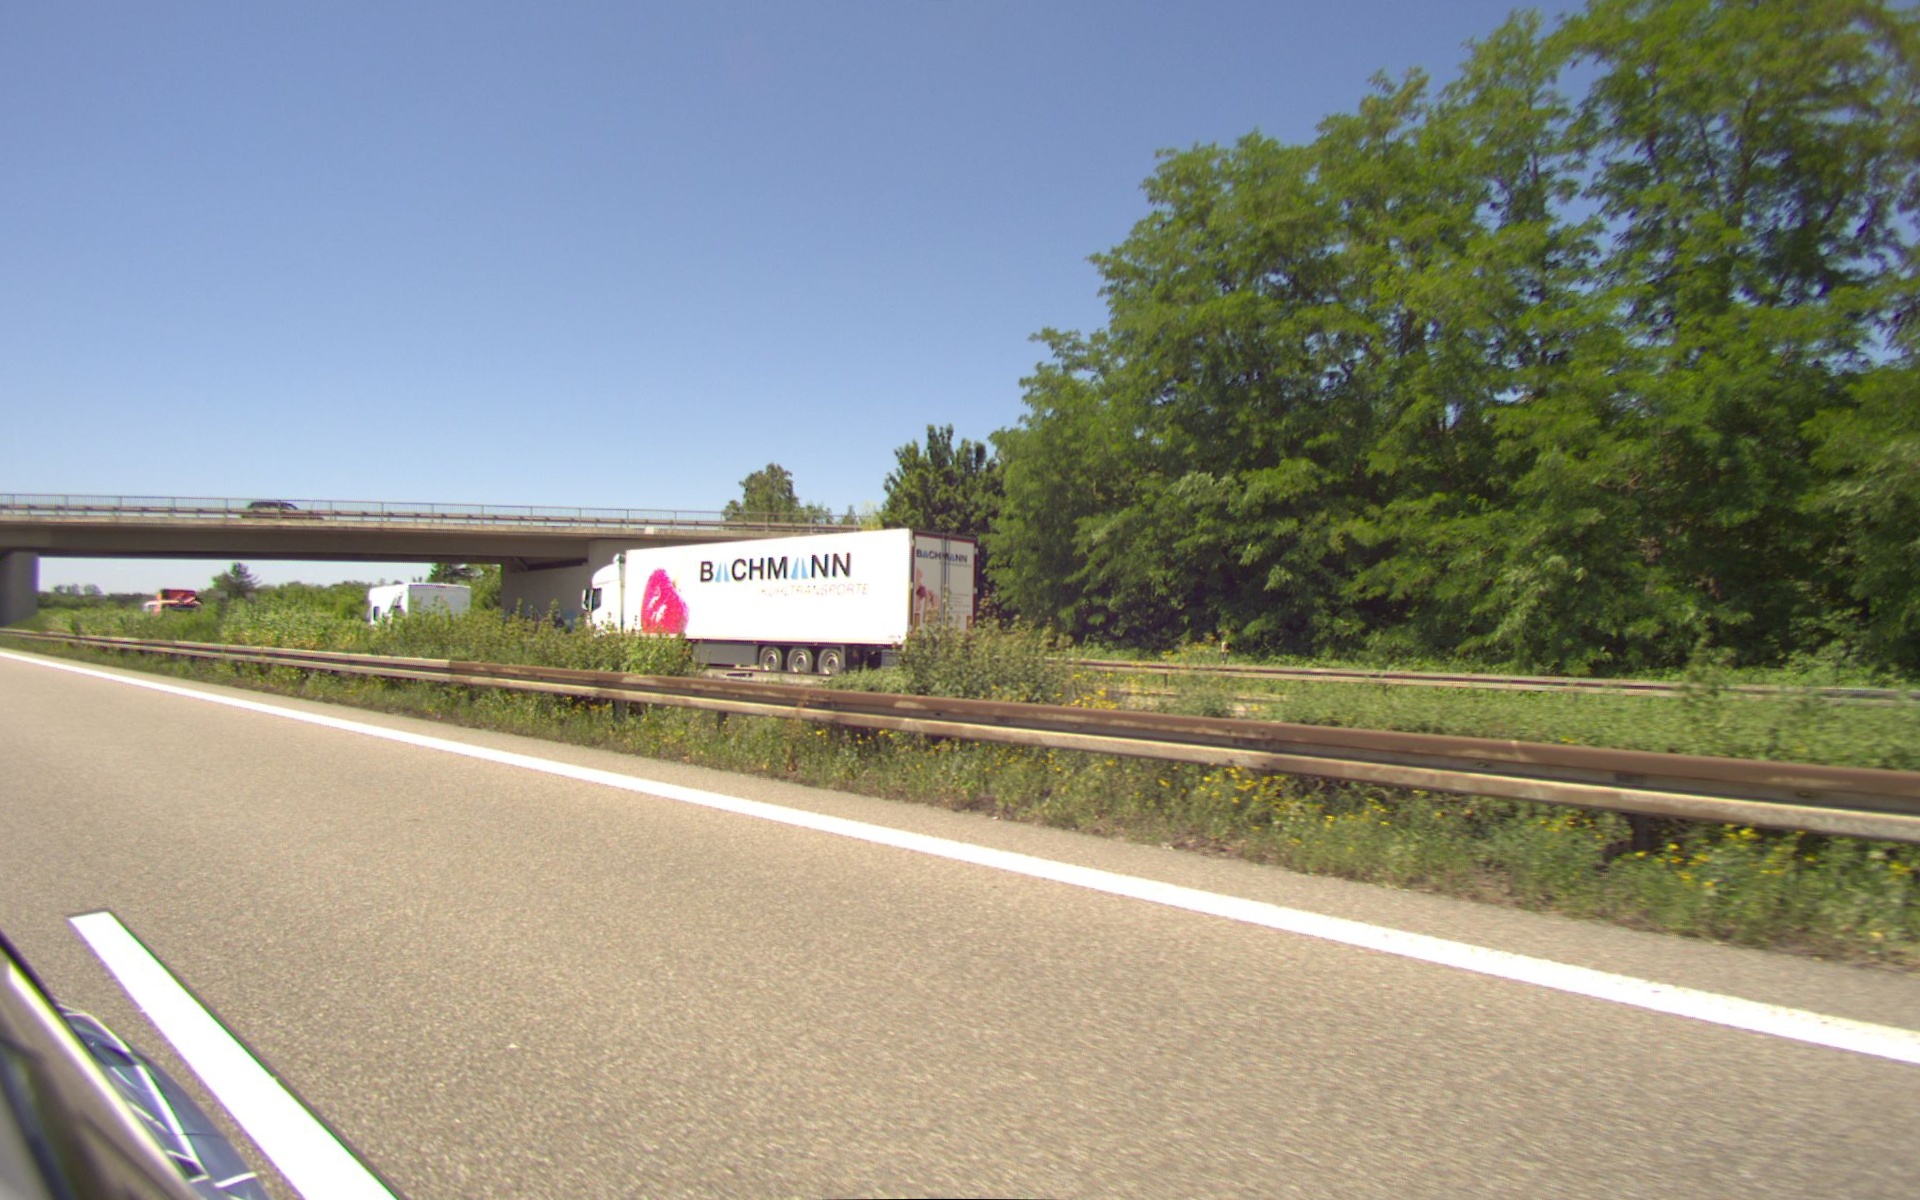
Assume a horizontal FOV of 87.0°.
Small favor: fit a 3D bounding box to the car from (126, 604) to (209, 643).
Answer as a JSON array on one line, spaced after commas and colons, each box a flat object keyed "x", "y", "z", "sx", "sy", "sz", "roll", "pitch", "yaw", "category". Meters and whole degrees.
[{"x": -39.922, "y": 1.172, "z": 50.932, "sx": 5.454, "sy": 1.794, "sz": 2.072, "roll": -1, "pitch": 0, "yaw": 39, "category": "car"}]

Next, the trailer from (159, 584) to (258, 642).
[{"x": -55.820, "y": 1.003, "z": 74.922, "sx": 15.573, "sy": 3.913, "sz": 2.585, "roll": -1, "pitch": 0, "yaw": 41, "category": "trailer"}]

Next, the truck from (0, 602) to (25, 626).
[{"x": -141.685, "y": 2.097, "z": 150.514, "sx": 10.733, "sy": 3.524, "sz": 2.847, "roll": -1, "pitch": 0, "yaw": 42, "category": "truck"}]

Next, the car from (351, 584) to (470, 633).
[{"x": -21.403, "y": 0.331, "z": 39.316, "sx": 5.421, "sy": 1.794, "sz": 2.278, "roll": -1, "pitch": 0, "yaw": 41, "category": "car"}]

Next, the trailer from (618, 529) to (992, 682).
[{"x": -5.316, "y": 0.216, "z": 30.414, "sx": 13.921, "sy": 3.738, "sz": 2.796, "roll": -1, "pitch": 0, "yaw": 41, "category": "trailer"}]

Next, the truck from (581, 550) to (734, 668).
[{"x": -10.526, "y": 0.307, "z": 35.031, "sx": 5.115, "sy": 3.749, "sz": 2.766, "roll": -1, "pitch": 0, "yaw": 42, "category": "truck"}]

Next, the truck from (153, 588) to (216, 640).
[{"x": -60.722, "y": 1.099, "z": 79.205, "sx": 6.496, "sy": 3.927, "sz": 2.585, "roll": -1, "pitch": 0, "yaw": 41, "category": "truck"}]
